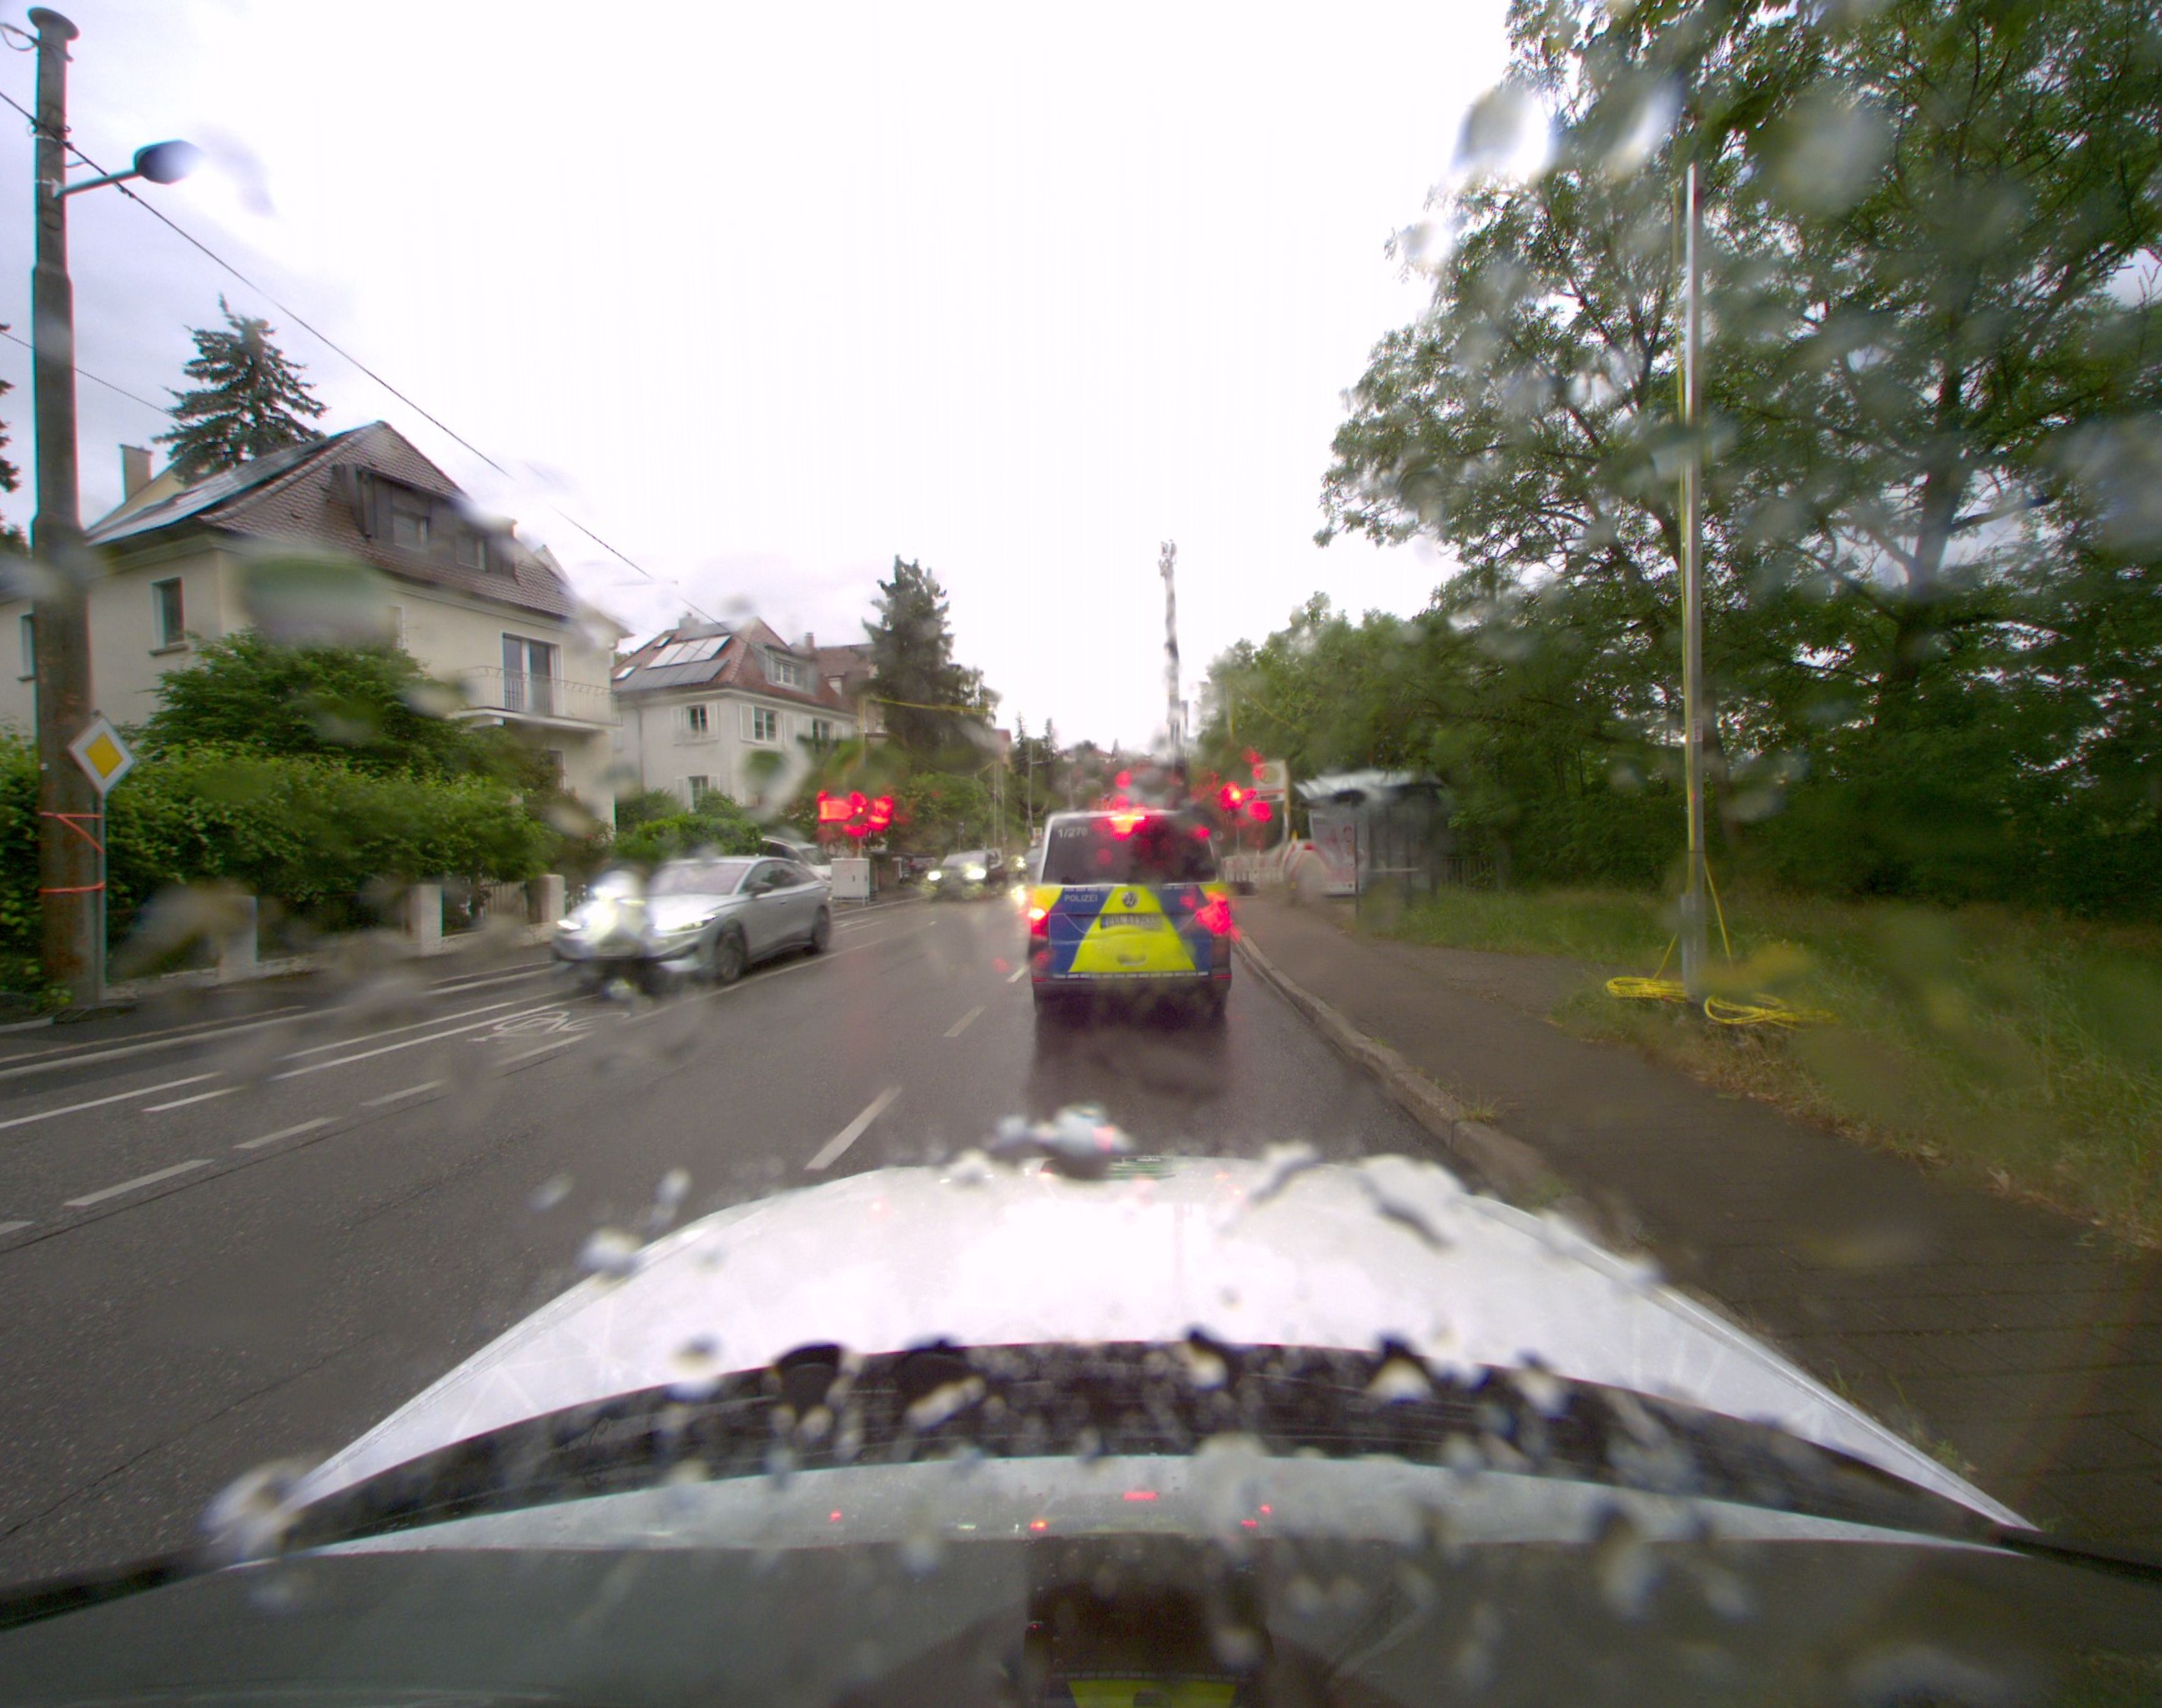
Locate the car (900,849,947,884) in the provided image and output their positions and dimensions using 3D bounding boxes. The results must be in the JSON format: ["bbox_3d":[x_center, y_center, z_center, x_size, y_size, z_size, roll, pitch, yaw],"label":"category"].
[{"bbox_3d":[-7.454,0.556,38.305,1.770,1.486,3.720,0,1,-17],"label":"car"}]

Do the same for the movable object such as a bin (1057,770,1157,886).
[{"bbox_3d":[1.107,-0.929,31.778,2.809,4.177,4.400,0,0,17],"label":"movable object such as a bin"}]

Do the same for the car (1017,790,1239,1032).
[{"bbox_3d":[0.464,0.483,8.947,1.886,2.050,4.002,0,0,2],"label":"car"}]

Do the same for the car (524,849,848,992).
[{"bbox_3d":[-4.947,0.736,11.163,1.845,1.527,4.824,0,0,3],"label":"car"}]

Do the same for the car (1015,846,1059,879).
[{"bbox_3d":[-2.317,0.431,44.305,1.986,1.674,4.690,0,0,2],"label":"car"}]

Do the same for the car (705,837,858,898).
[{"bbox_3d":[-10.279,0.458,28.062,4.599,2.007,1.907,0,0,13],"label":"car"}]

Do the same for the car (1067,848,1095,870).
[{"bbox_3d":[-0.013,0.409,66.588,1.975,1.748,4.547,-1,0,-4],"label":"car"}]

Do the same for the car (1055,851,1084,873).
[{"bbox_3d":[-0.800,0.542,57.748,1.756,1.463,3.890,0,0,3],"label":"car"}]

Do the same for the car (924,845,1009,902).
[{"bbox_3d":[-3.662,0.595,26.701,1.859,1.621,4.168,-3,0,3],"label":"car"}]
